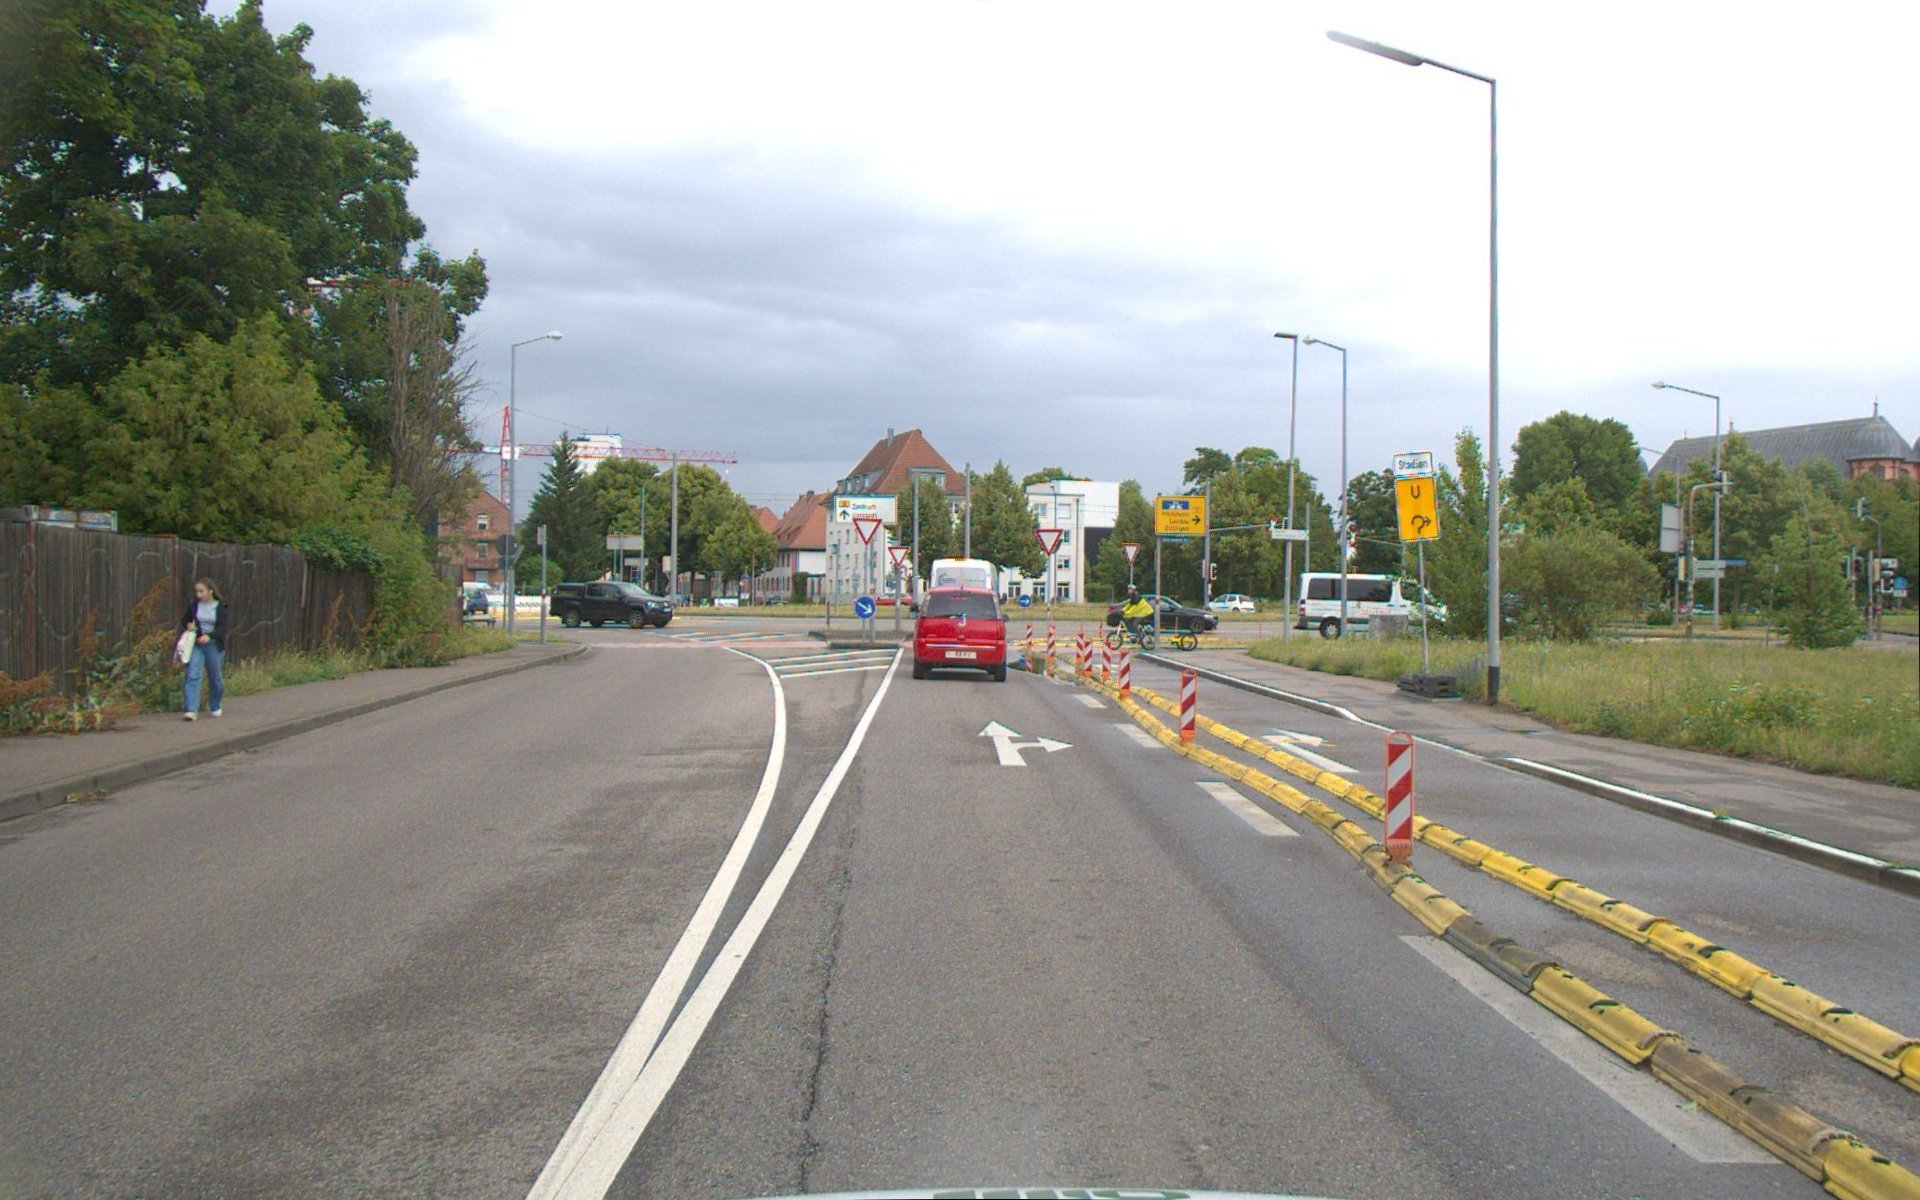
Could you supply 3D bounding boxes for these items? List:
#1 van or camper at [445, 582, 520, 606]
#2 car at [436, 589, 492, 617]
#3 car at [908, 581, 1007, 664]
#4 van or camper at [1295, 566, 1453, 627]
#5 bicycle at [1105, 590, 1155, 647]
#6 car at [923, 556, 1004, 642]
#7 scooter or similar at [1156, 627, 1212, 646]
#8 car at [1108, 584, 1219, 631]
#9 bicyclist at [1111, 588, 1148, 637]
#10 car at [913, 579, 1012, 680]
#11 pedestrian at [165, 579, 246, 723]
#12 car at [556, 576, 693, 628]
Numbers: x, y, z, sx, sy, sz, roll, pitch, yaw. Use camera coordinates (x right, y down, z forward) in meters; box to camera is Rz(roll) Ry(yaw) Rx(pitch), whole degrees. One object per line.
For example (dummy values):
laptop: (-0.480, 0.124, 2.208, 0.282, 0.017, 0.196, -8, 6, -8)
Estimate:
van or camper: (-41.996, -0.534, 145.527, 6.045, 2.049, 2.002, 0, 0, 10)
car: (-27.502, 0.165, 91.808, 1.891, 1.515, 4.000, 0, 0, 0)
car: (-0.080, 0.457, 36.686, 2.018, 1.676, 4.606, 2, 0, -1)
van or camper: (14.901, -0.127, 59.822, 5.416, 2.152, 2.002, 0, 0, 11)
bicycle: (4.998, 0.543, 48.639, 1.446, 1.640, 0.606, 0, 0, 2)
car: (0.171, -0.030, 53.507, 2.149, 2.584, 4.965, 2, 0, 5)
scooter or similar: (6.564, 1.076, 48.535, 1.574, 0.513, 0.925, 0, 0, 2)
car: (8.001, 0.278, 64.871, 4.267, 1.780, 2.002, 0, 0, 9)
bicyclist: (4.986, 0.374, 48.637, 1.039, 1.426, 0.615, 0, 0, 2)
car: (0.017, 0.500, 29.975, 1.639, 1.669, 3.627, 2, 0, -1)
pedestrian: (-8.314, 0.547, 18.242, 0.600, 1.556, 0.723, 0, 0, -5)
car: (-13.377, 0.074, 65.957, 4.921, 2.006, 2.224, 0, 0, 19)
